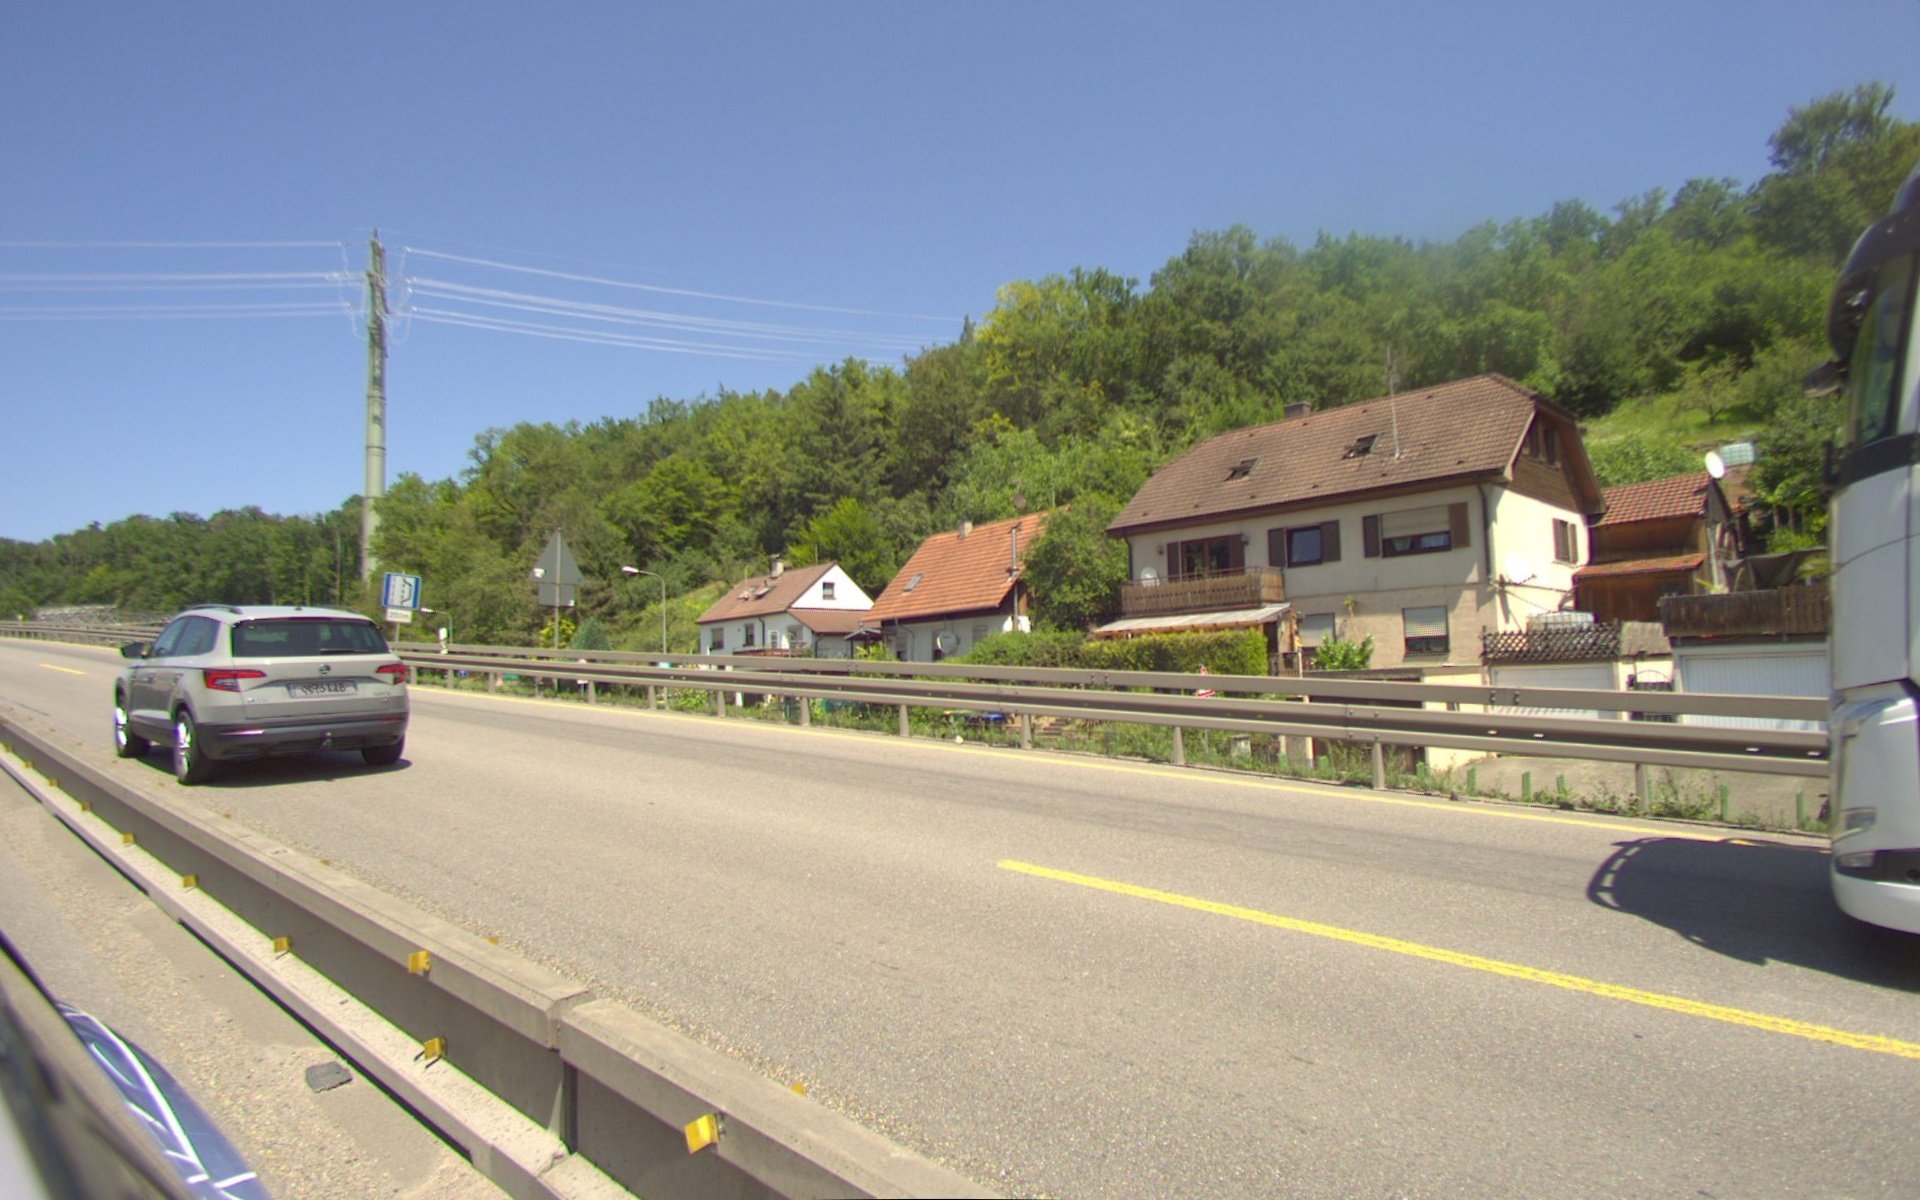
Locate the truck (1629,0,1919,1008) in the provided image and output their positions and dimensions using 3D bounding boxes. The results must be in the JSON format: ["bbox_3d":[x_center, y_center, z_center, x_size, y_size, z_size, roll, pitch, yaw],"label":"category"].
[{"bbox_3d":[5.545,-0.736,3.527,4.956,4.316,2.722,-2,-1,42],"label":"truck"}]

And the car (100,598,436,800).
[{"bbox_3d":[-7.107,0.800,10.238,4.067,1.623,1.840,0,0,41],"label":"car"}]
